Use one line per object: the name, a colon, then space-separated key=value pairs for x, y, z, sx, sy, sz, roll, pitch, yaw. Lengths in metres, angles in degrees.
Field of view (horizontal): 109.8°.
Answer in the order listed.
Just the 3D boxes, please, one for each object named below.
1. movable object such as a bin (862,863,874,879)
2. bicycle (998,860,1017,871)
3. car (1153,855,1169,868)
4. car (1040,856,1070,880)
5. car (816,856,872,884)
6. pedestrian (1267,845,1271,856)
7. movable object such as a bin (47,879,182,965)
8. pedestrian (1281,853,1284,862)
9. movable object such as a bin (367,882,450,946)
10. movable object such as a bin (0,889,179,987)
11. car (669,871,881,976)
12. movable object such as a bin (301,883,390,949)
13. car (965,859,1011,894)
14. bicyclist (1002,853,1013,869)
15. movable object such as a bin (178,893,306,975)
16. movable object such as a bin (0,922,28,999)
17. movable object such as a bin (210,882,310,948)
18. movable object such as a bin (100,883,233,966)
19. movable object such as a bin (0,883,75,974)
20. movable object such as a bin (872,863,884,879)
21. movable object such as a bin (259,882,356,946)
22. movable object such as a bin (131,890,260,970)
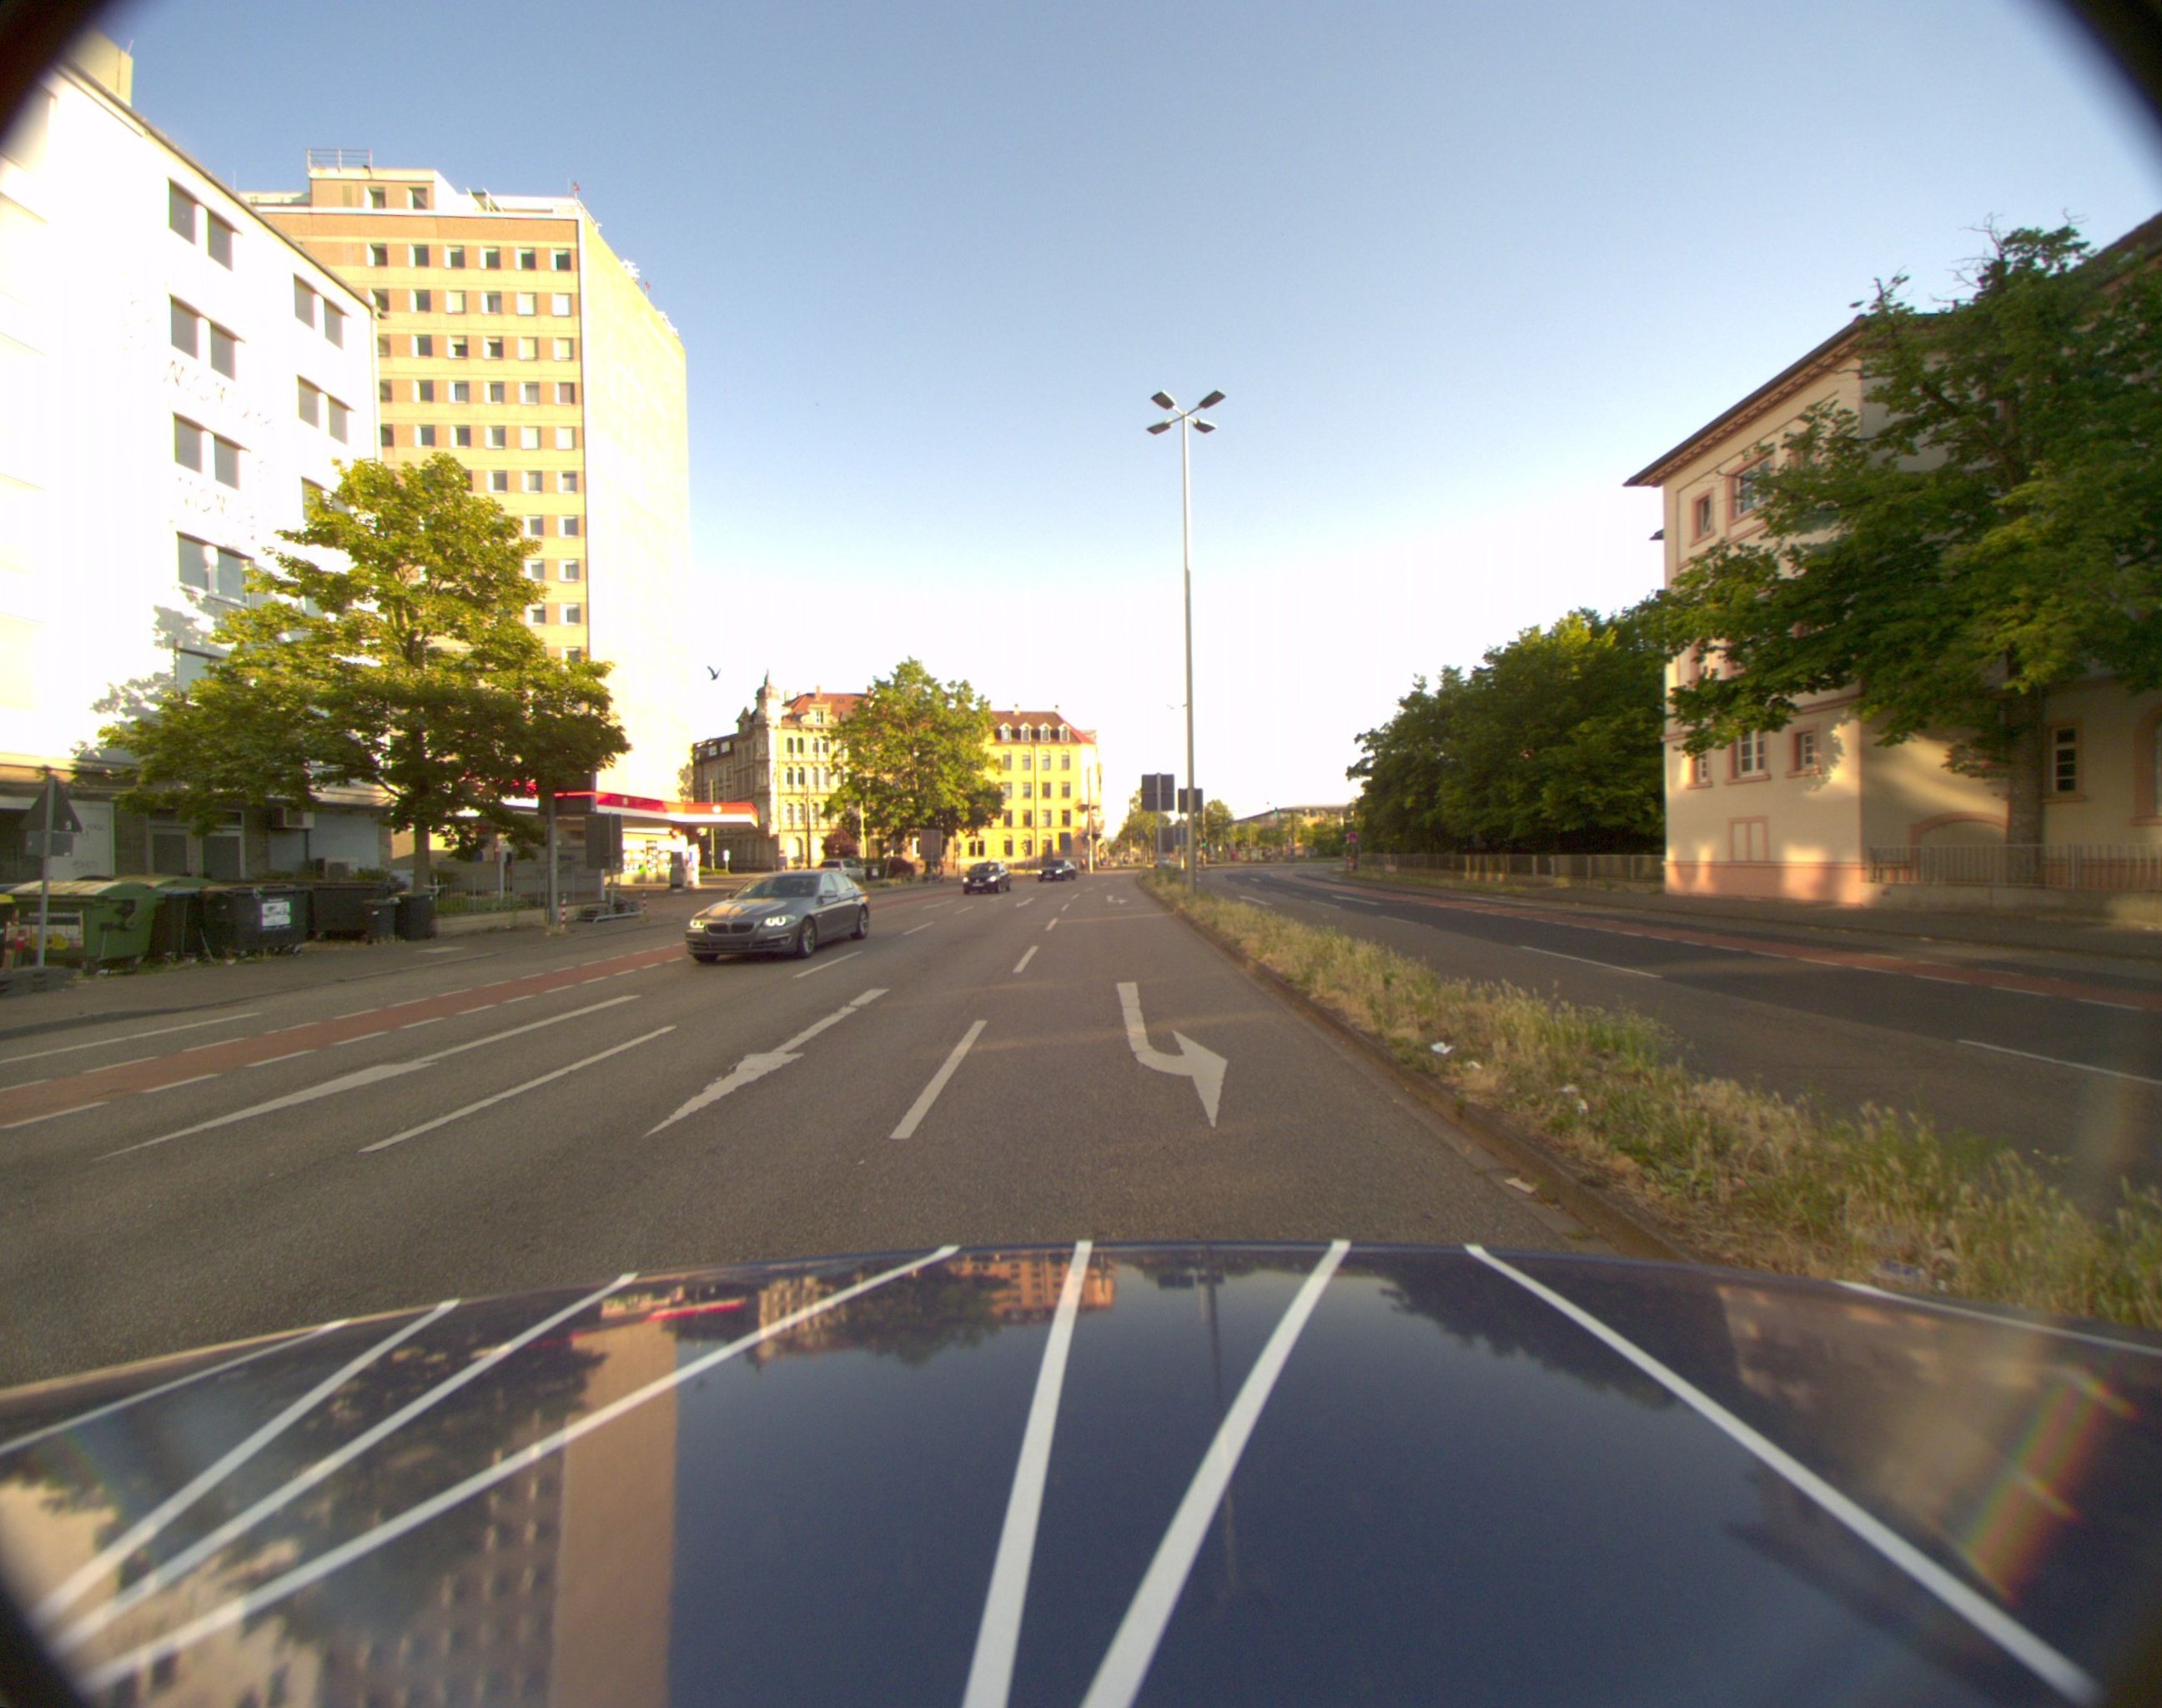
movable object such as a bin: x=-13.866 y=1.107 z=49.481 sx=0.544 sy=1.013 sz=0.688 roll=-1 pitch=1 yaw=5
bicycle: x=-7.503 y=1.152 z=77.546 sx=1.927 sy=1.053 sz=0.451 roll=-1 pitch=1 yaw=-7
car: x=9.885 y=0.891 z=93.325 sx=1.673 sy=1.410 sz=4.443 roll=-2 pitch=0 yaw=9
car: x=-1.713 y=0.920 z=51.680 sx=1.731 sy=1.440 sz=4.046 roll=-2 pitch=0 yaw=2
car: x=-13.953 y=0.929 z=44.991 sx=1.688 sy=1.508 sz=3.798 roll=-1 pitch=1 yaw=8
pedestrian: x=34.398 y=-0.582 z=138.959 sx=0.556 sy=2.002 sz=0.664 roll=-1 pitch=1 yaw=1
movable object such as a bin: x=-18.305 y=1.259 z=14.433 sx=1.034 sy=1.490 sz=1.162 roll=-1 pitch=1 yaw=-2
pedestrian: x=35.503 y=0.608 z=134.064 sx=0.467 sy=1.695 sz=0.419 roll=-1 pitch=1 yaw=1
movable object such as a bin: x=-14.886 y=1.313 z=16.851 sx=0.956 sy=1.320 sz=0.953 roll=-1 pitch=1 yaw=-2
movable object such as a bin: x=-15.819 y=1.313 z=12.174 sx=1.351 sy=1.415 sz=1.105 roll=-1 pitch=1 yaw=-4
car: x=-5.293 y=1.118 z=13.951 sx=1.819 sy=1.440 sz=4.667 roll=-2 pitch=0 yaw=2
movable object such as a bin: x=-15.846 y=1.315 z=16.396 sx=0.956 sy=1.320 sz=0.953 roll=-1 pitch=1 yaw=-2
car: x=-4.331 y=1.020 z=35.814 sx=1.584 sy=1.440 sz=3.872 roll=-2 pitch=0 yaw=1
bicyclist: x=-7.545 y=0.697 z=77.614 sx=1.065 sy=1.639 sz=0.732 roll=-1 pitch=1 yaw=-7
movable object such as a bin: x=-14.929 y=1.401 z=13.570 sx=0.956 sy=1.320 sz=1.162 roll=-1 pitch=1 yaw=-2
movable object such as a bin: x=-15.520 y=1.506 z=10.461 sx=0.853 sy=1.039 sz=0.819 roll=-1 pitch=1 yaw=-4
movable object such as a bin: x=-17.935 y=1.309 z=16.632 sx=0.956 sy=1.320 sz=1.098 roll=-1 pitch=1 yaw=-2
movable object such as a bin: x=-17.130 y=1.293 z=14.279 sx=1.034 sy=1.440 sz=1.162 roll=-1 pitch=1 yaw=-2
movable object such as a bin: x=-18.697 y=1.278 z=13.120 sx=1.034 sy=1.490 sz=1.162 roll=-1 pitch=1 yaw=-2
movable object such as a bin: x=-13.145 y=1.091 z=49.270 sx=0.544 sy=1.013 sz=0.688 roll=-1 pitch=1 yaw=5
movable object such as a bin: x=-16.938 y=1.295 z=16.675 sx=0.956 sy=1.276 sz=1.098 roll=-1 pitch=1 yaw=-2
movable object such as a bin: x=-16.045 y=1.347 z=13.810 sx=0.956 sy=1.320 sz=1.162 roll=-1 pitch=1 yaw=-2
